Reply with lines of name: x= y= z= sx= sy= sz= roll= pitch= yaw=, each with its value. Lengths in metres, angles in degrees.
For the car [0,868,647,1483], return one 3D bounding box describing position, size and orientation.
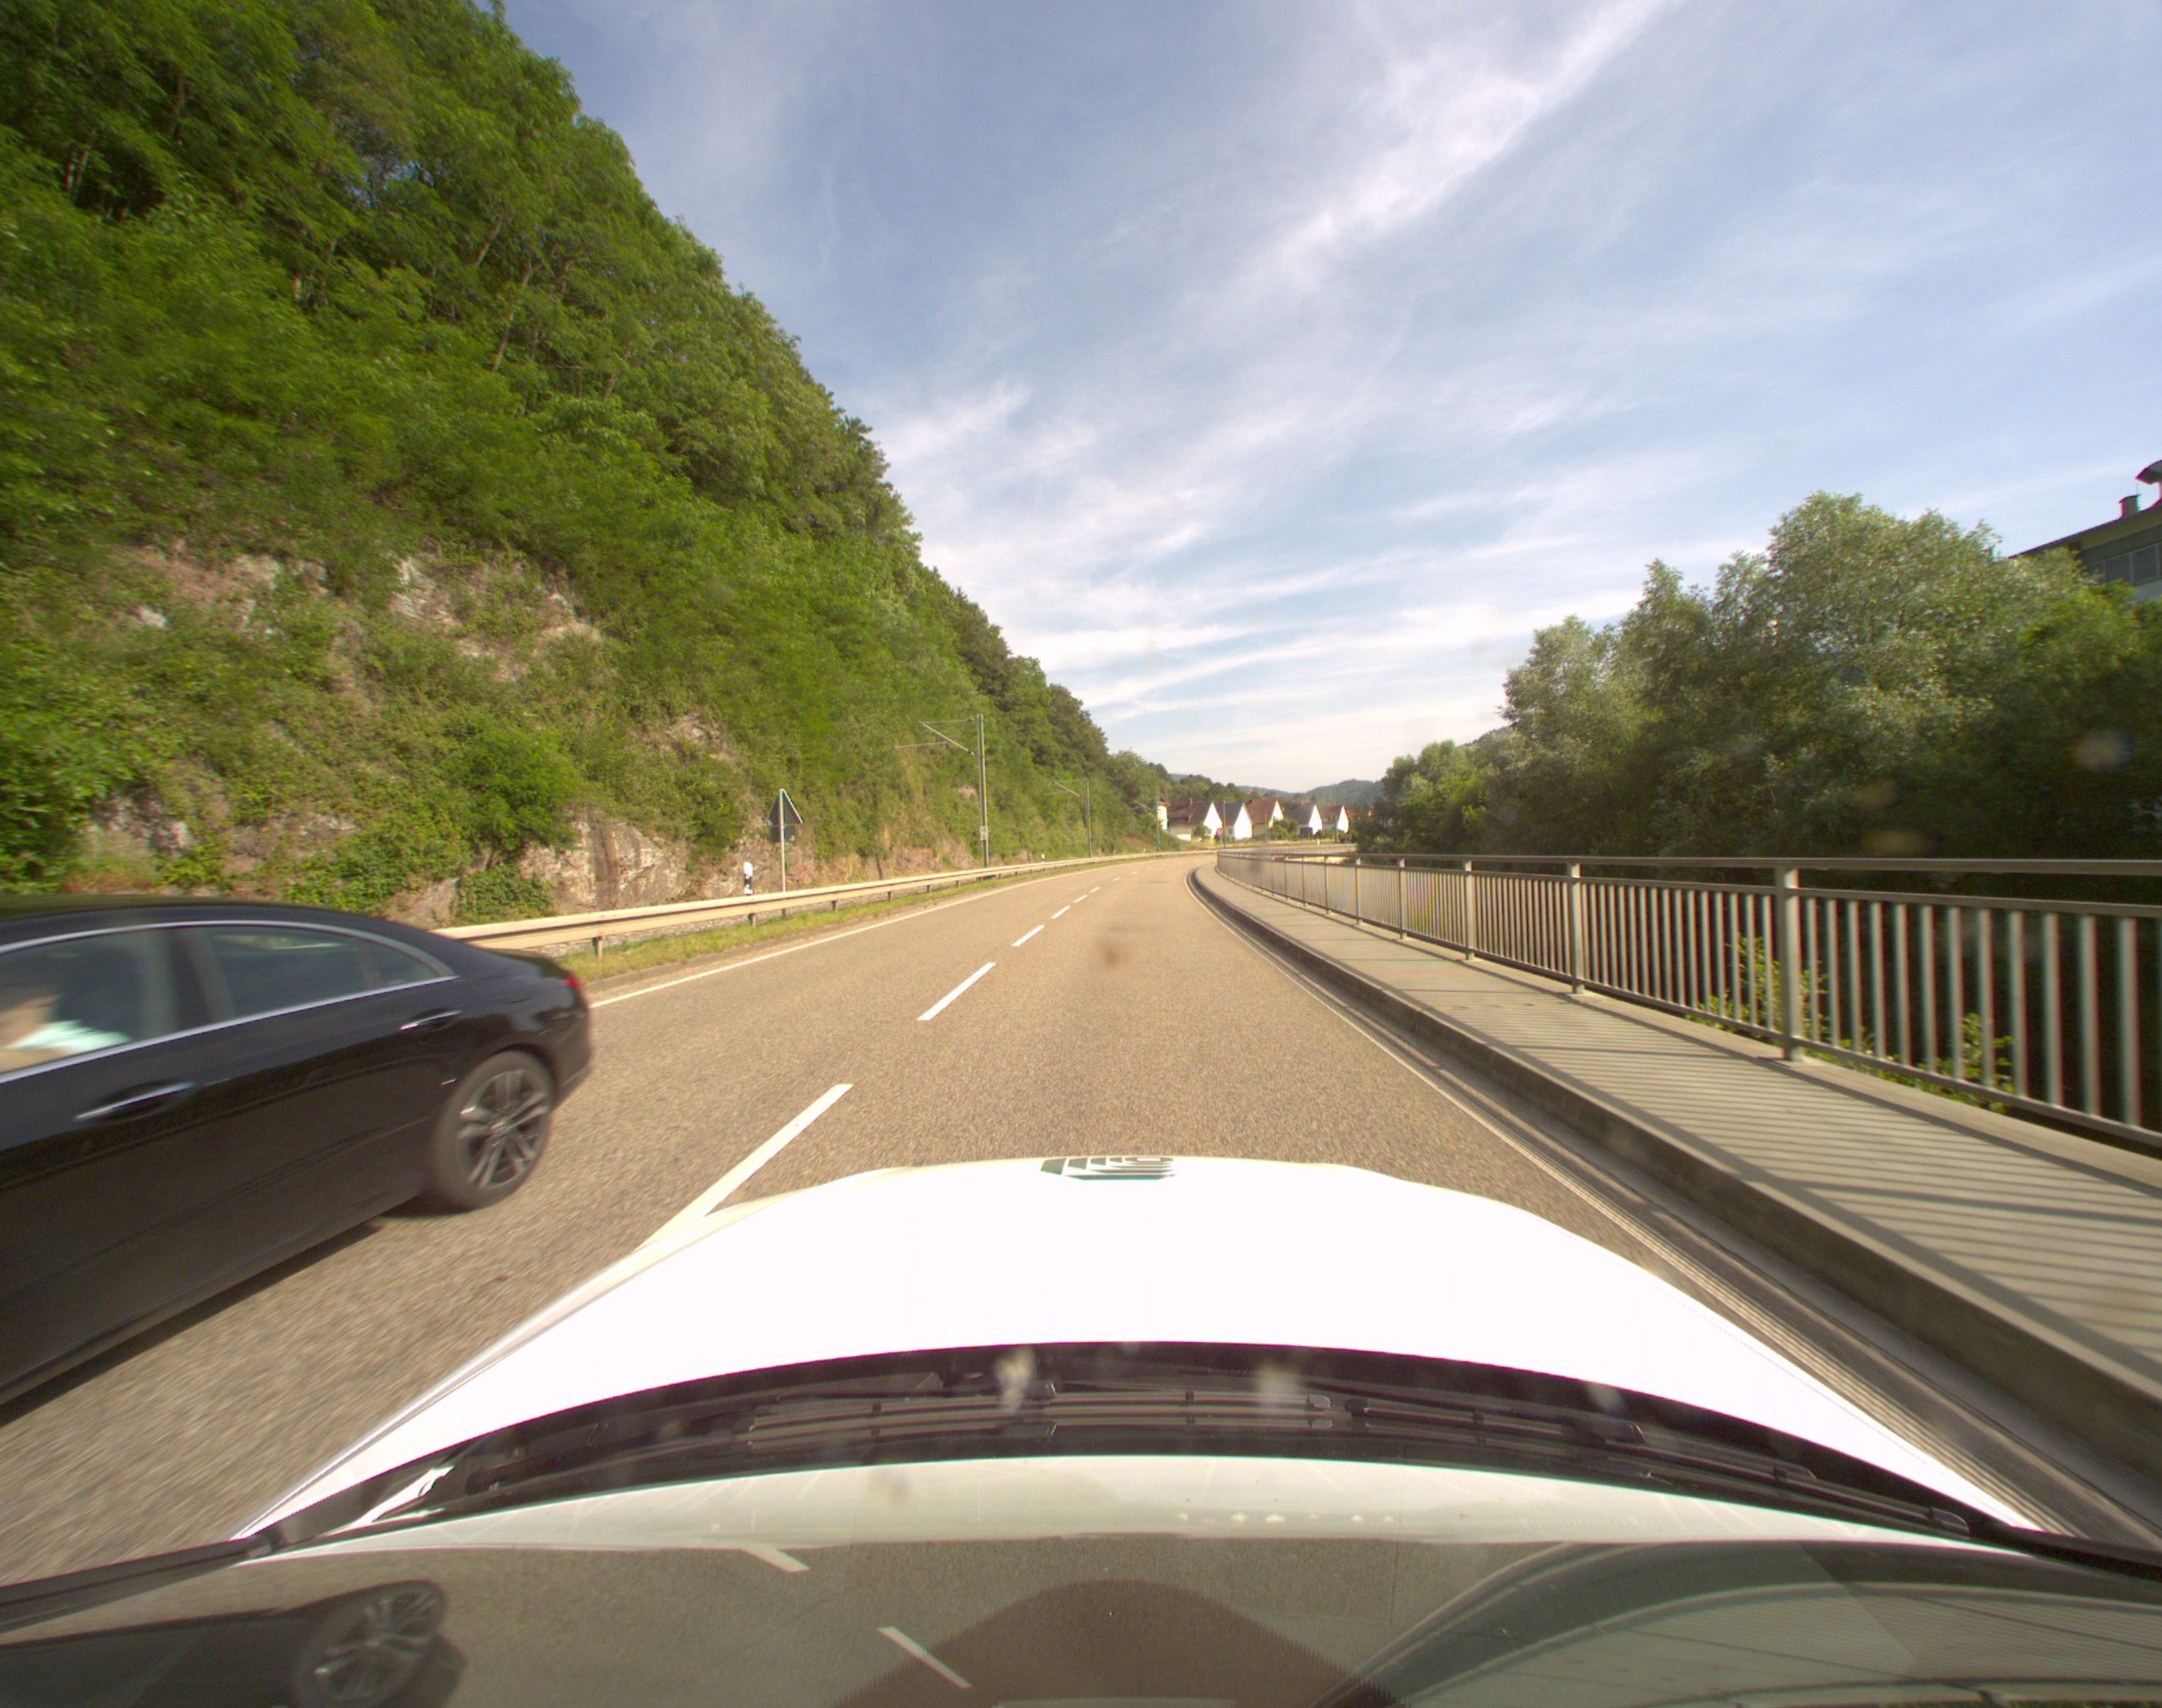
car: x=-3.498 y=0.814 z=2.449 sx=1.840 sy=1.402 sz=4.478 roll=-1 pitch=0 yaw=2
